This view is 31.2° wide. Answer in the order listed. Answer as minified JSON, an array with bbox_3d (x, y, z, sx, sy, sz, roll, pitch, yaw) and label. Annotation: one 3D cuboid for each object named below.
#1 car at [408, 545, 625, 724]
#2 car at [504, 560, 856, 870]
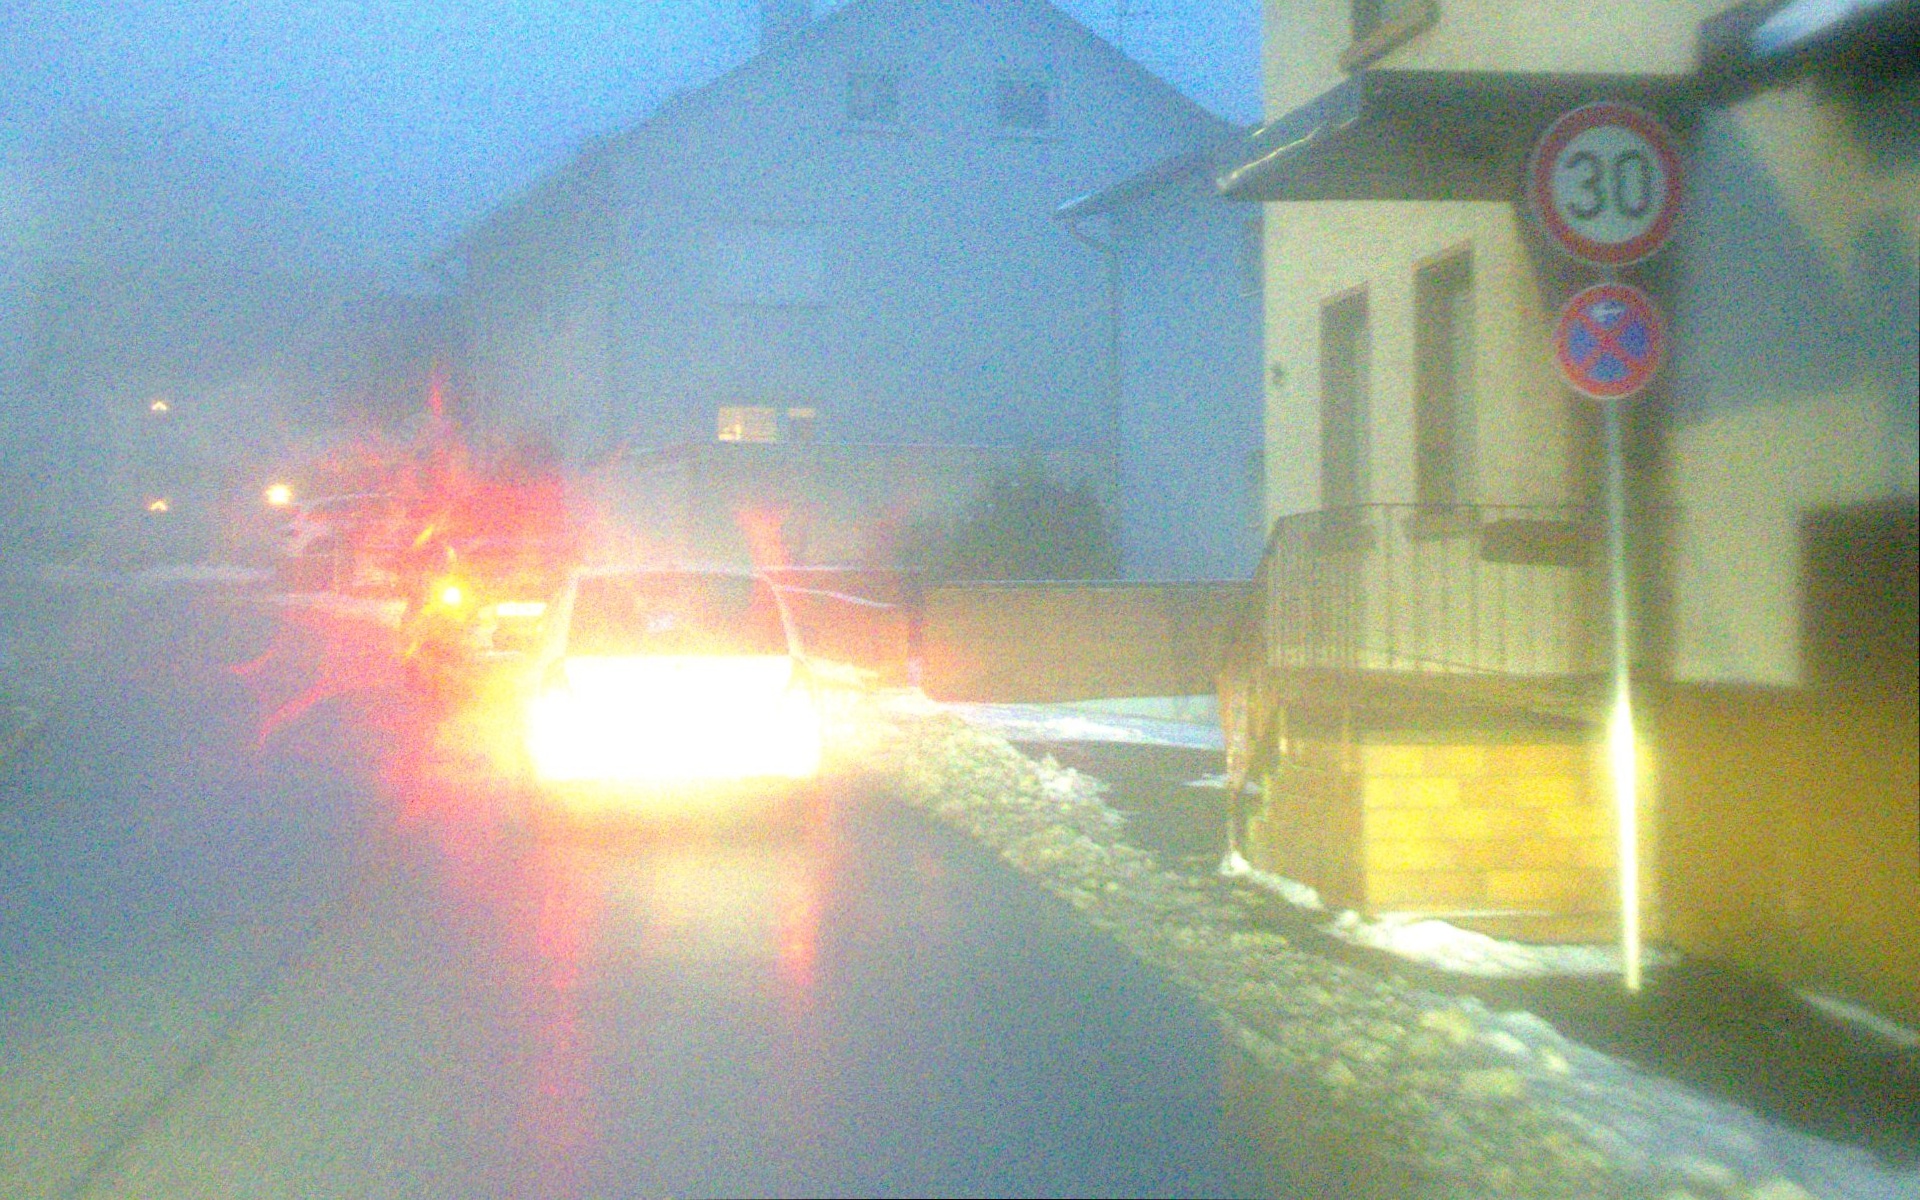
[{"bbox_3d":[-4.300,0.330,32.925,1.645,1.590,3.700,1,-1,-14],"label":"car"},{"bbox_3d":[-1.686,0.616,19.657,1.645,1.590,3.700,1,-1,-10],"label":"car"}]
